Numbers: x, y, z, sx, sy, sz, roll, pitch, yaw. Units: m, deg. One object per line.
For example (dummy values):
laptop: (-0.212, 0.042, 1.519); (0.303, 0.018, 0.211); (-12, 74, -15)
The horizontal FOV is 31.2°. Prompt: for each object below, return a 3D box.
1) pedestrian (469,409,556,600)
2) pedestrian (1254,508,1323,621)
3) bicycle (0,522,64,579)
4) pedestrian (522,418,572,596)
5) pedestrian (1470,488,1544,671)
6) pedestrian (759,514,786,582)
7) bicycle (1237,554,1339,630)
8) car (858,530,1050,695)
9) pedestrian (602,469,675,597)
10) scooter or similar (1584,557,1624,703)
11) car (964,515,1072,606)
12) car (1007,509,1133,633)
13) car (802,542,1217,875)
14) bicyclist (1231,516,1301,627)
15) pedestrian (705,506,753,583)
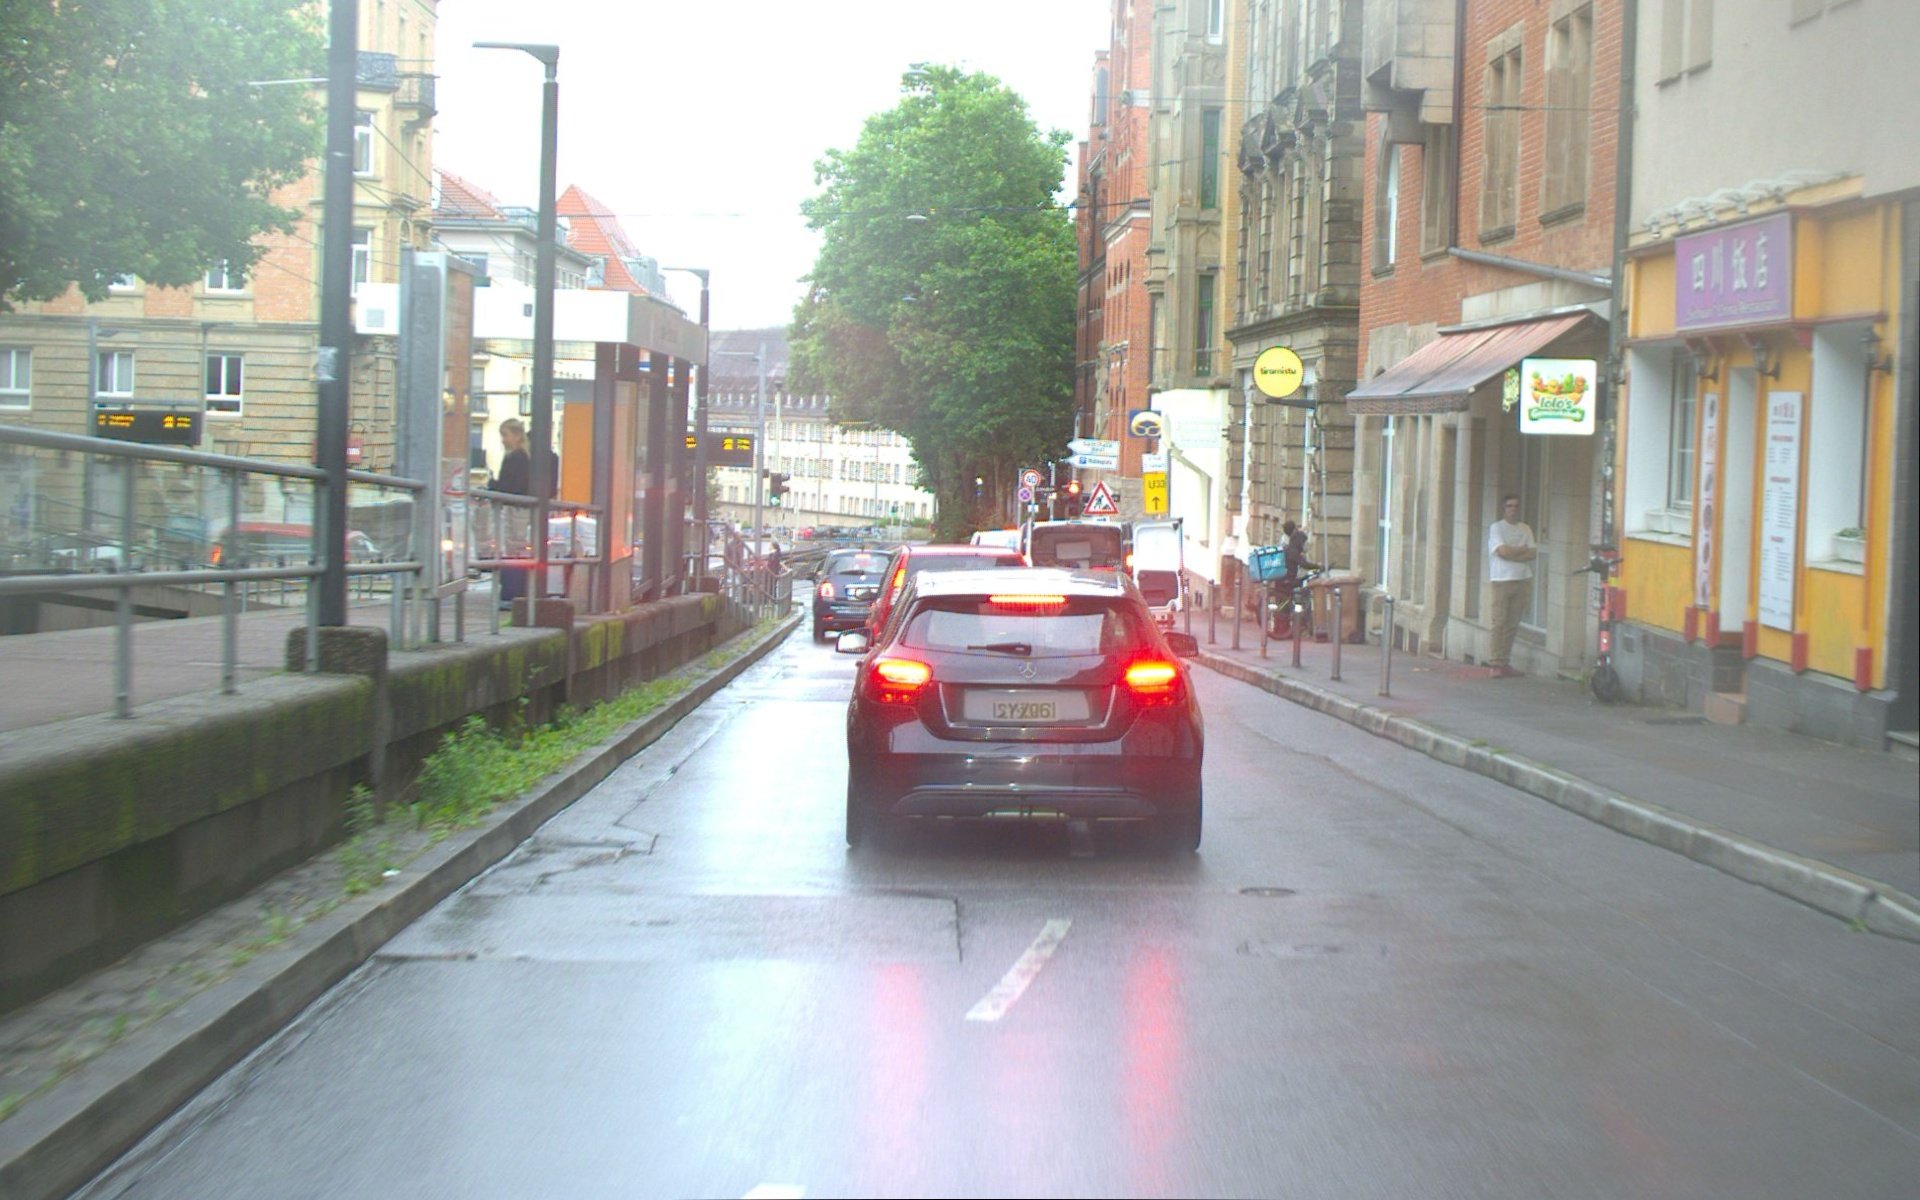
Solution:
pedestrian: (-3.793, -0.809, 29.170); (0.496, 1.599, 0.636); (1, 1, 16)
pedestrian: (5.132, -0.560, 53.673); (0.834, 1.748, 0.686); (0, 1, -45)
bicycle: (-20.552, -1.086, 75.014); (1.870, 1.191, 0.518); (1, 1, -12)
pedestrian: (-3.748, -0.843, 31.212); (0.409, 1.599, 0.450); (1, 1, -7)
pedestrian: (5.552, -0.209, 34.909); (0.577, 1.824, 0.564); (-2, 0, -3)
pedestrian: (-4.249, -1.171, 77.847); (0.531, 1.525, 0.437); (1, 1, -9)
bicycle: (4.911, -0.126, 51.471); (1.684, 1.111, 0.464); (0, 1, -39)
car: (-0.105, 0.077, 33.480); (1.679, 1.484, 3.613); (1, 1, -3)
pedestrian: (-3.143, -0.653, 33.620); (0.613, 1.222, 0.507); (2, 1, 3)
scooter or similar: (5.568, 0.247, 29.760); (0.257, 1.217, 1.194); (2, 1, 9)
car: (1.214, -0.880, 73.625); (1.933, 1.825, 4.282); (2, 1, -4)
car: (1.787, -0.511, 57.155); (1.921, 1.929, 4.685); (1, 1, 0)
car: (0.233, 0.485, 18.431); (1.895, 1.385, 4.001); (4, 2, 0)
bicyclist: (4.625, -0.433, 51.903); (0.848, 1.651, 0.631); (0, 1, -40)
pedestrian: (-5.232, -1.261, 77.965); (0.739, 1.718, 0.740); (1, 1, -44)
